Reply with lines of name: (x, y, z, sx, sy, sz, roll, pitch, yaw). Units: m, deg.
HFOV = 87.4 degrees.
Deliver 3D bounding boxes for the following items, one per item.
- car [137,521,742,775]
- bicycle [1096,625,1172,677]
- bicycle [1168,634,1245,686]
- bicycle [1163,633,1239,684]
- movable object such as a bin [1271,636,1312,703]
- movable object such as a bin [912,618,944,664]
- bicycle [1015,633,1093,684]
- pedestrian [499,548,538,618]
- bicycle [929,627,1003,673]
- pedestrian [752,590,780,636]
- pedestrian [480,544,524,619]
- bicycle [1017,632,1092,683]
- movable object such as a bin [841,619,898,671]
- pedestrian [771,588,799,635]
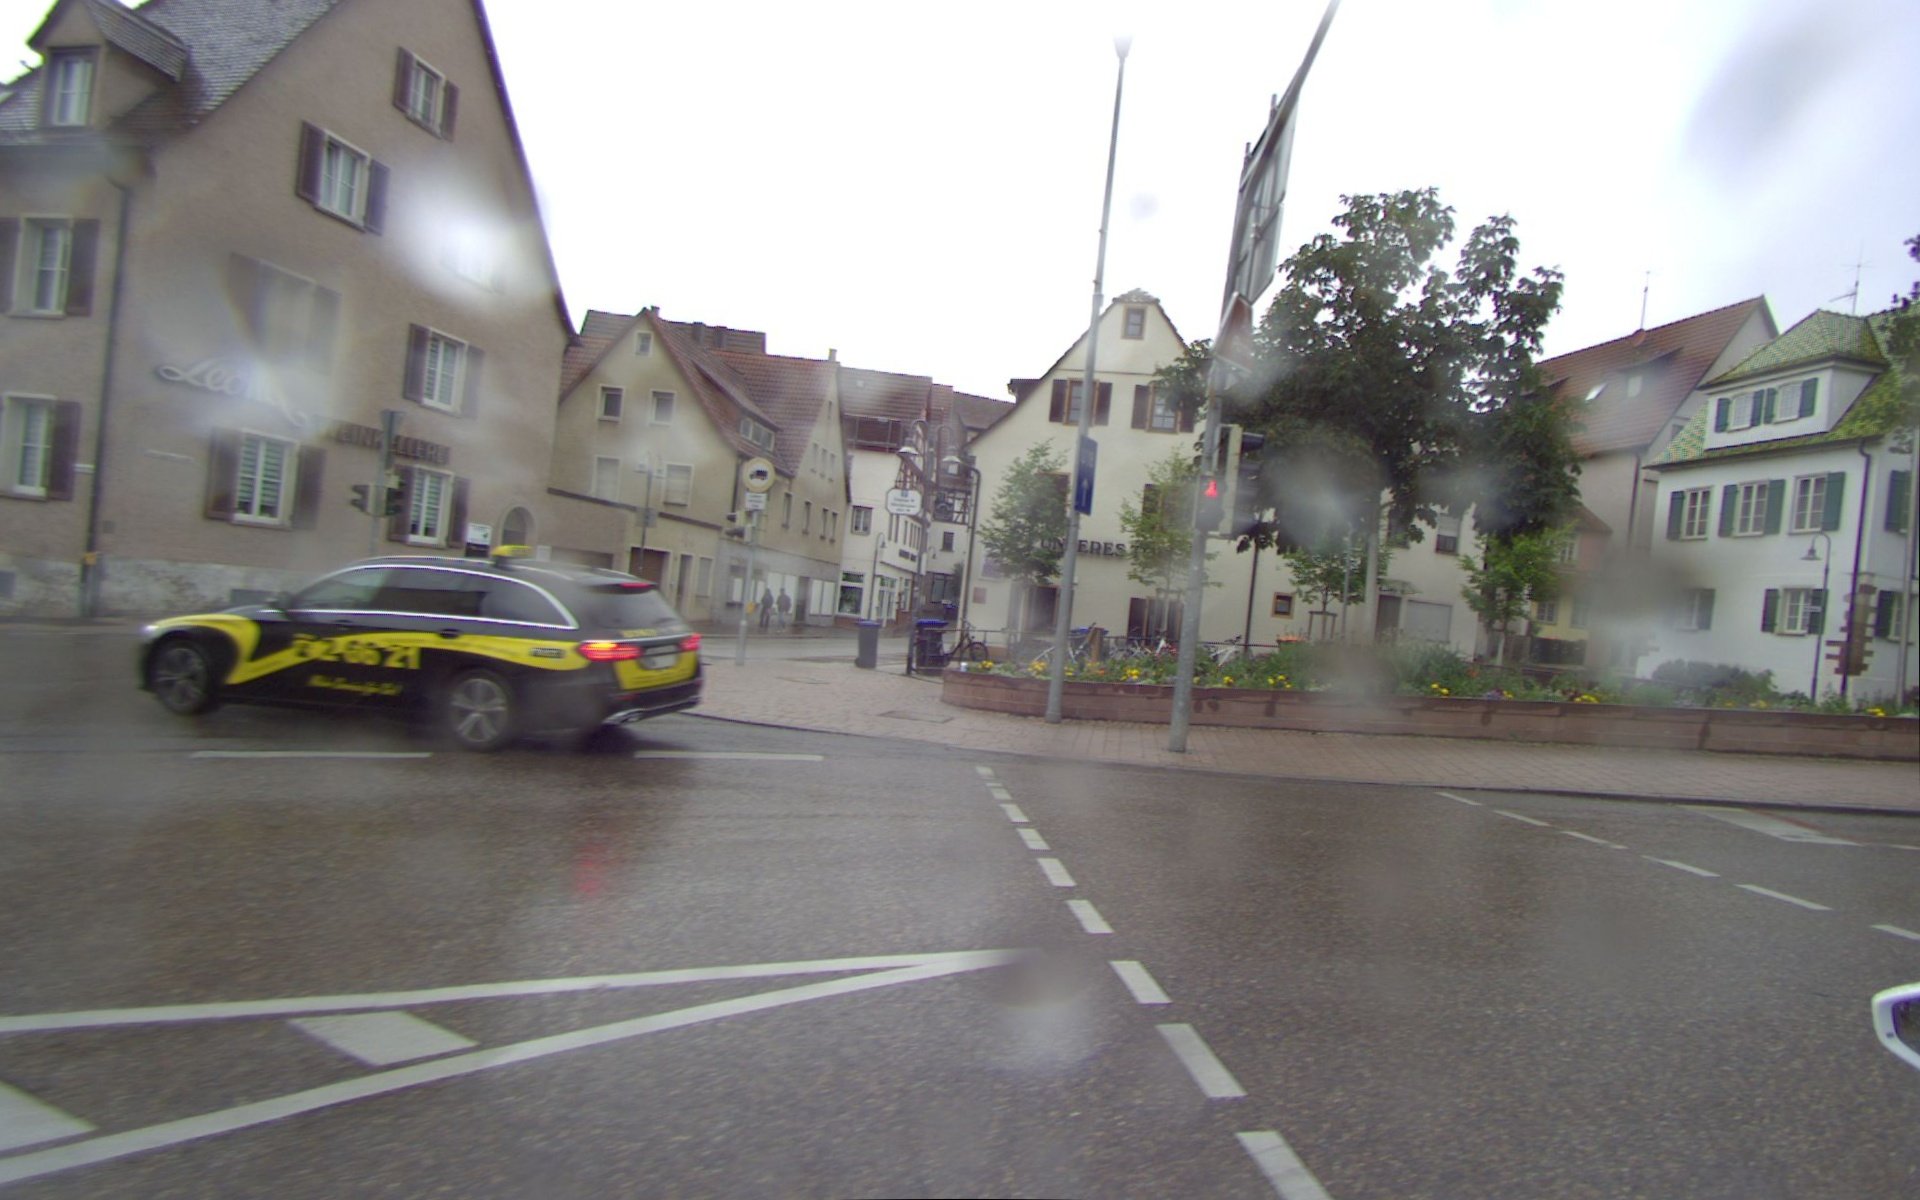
car: (-4.372, 0.301, 8.704, 4.325, 1.559, 2.001, 5, 2, 13)
bicycle: (3.652, 1.070, 21.067, 1.443, 0.924, 0.392, 5, 4, -7)
bicycle: (5.136, 1.247, 20.936, 1.443, 0.924, 0.392, 5, 4, -7)
bicycle: (5.125, 1.249, 21.361, 1.443, 0.924, 0.392, 5, 4, -7)
movable object such as a bin: (7.057, 1.454, 21.361, 0.672, 1.293, 0.748, 7, 2, 19)
movable object such as a bin: (-0.700, 0.881, 21.664, 0.577, 0.913, 0.583, 5, 1, -5)
bicycle: (1.894, 1.182, 20.240, 1.447, 0.924, 0.391, 4, 4, -19)
pedestrian: (-11.555, -0.429, 26.274, 0.545, 1.751, 0.538, 6, 0, 20)
bicycle: (0.123, 1.016, 20.139, 1.419, 0.829, 0.336, 4, 4, -28)
pedestrian: (-7.593, 0.494, 39.301, 0.766, 1.755, 0.631, 4, 2, 14)
pedestrian: (-11.612, -0.473, 25.476, 0.783, 1.855, 0.713, 2, 1, -4)
bicycle: (1.953, 1.193, 20.739, 1.447, 0.924, 0.391, 4, 4, -19)
movable object such as a bin: (-1.851, 0.920, 20.540, 0.783, 0.938, 0.717, 7, 1, -42)
pedestrian: (-6.790, 0.440, 39.022, 0.766, 1.755, 0.631, 4, 2, 14)
